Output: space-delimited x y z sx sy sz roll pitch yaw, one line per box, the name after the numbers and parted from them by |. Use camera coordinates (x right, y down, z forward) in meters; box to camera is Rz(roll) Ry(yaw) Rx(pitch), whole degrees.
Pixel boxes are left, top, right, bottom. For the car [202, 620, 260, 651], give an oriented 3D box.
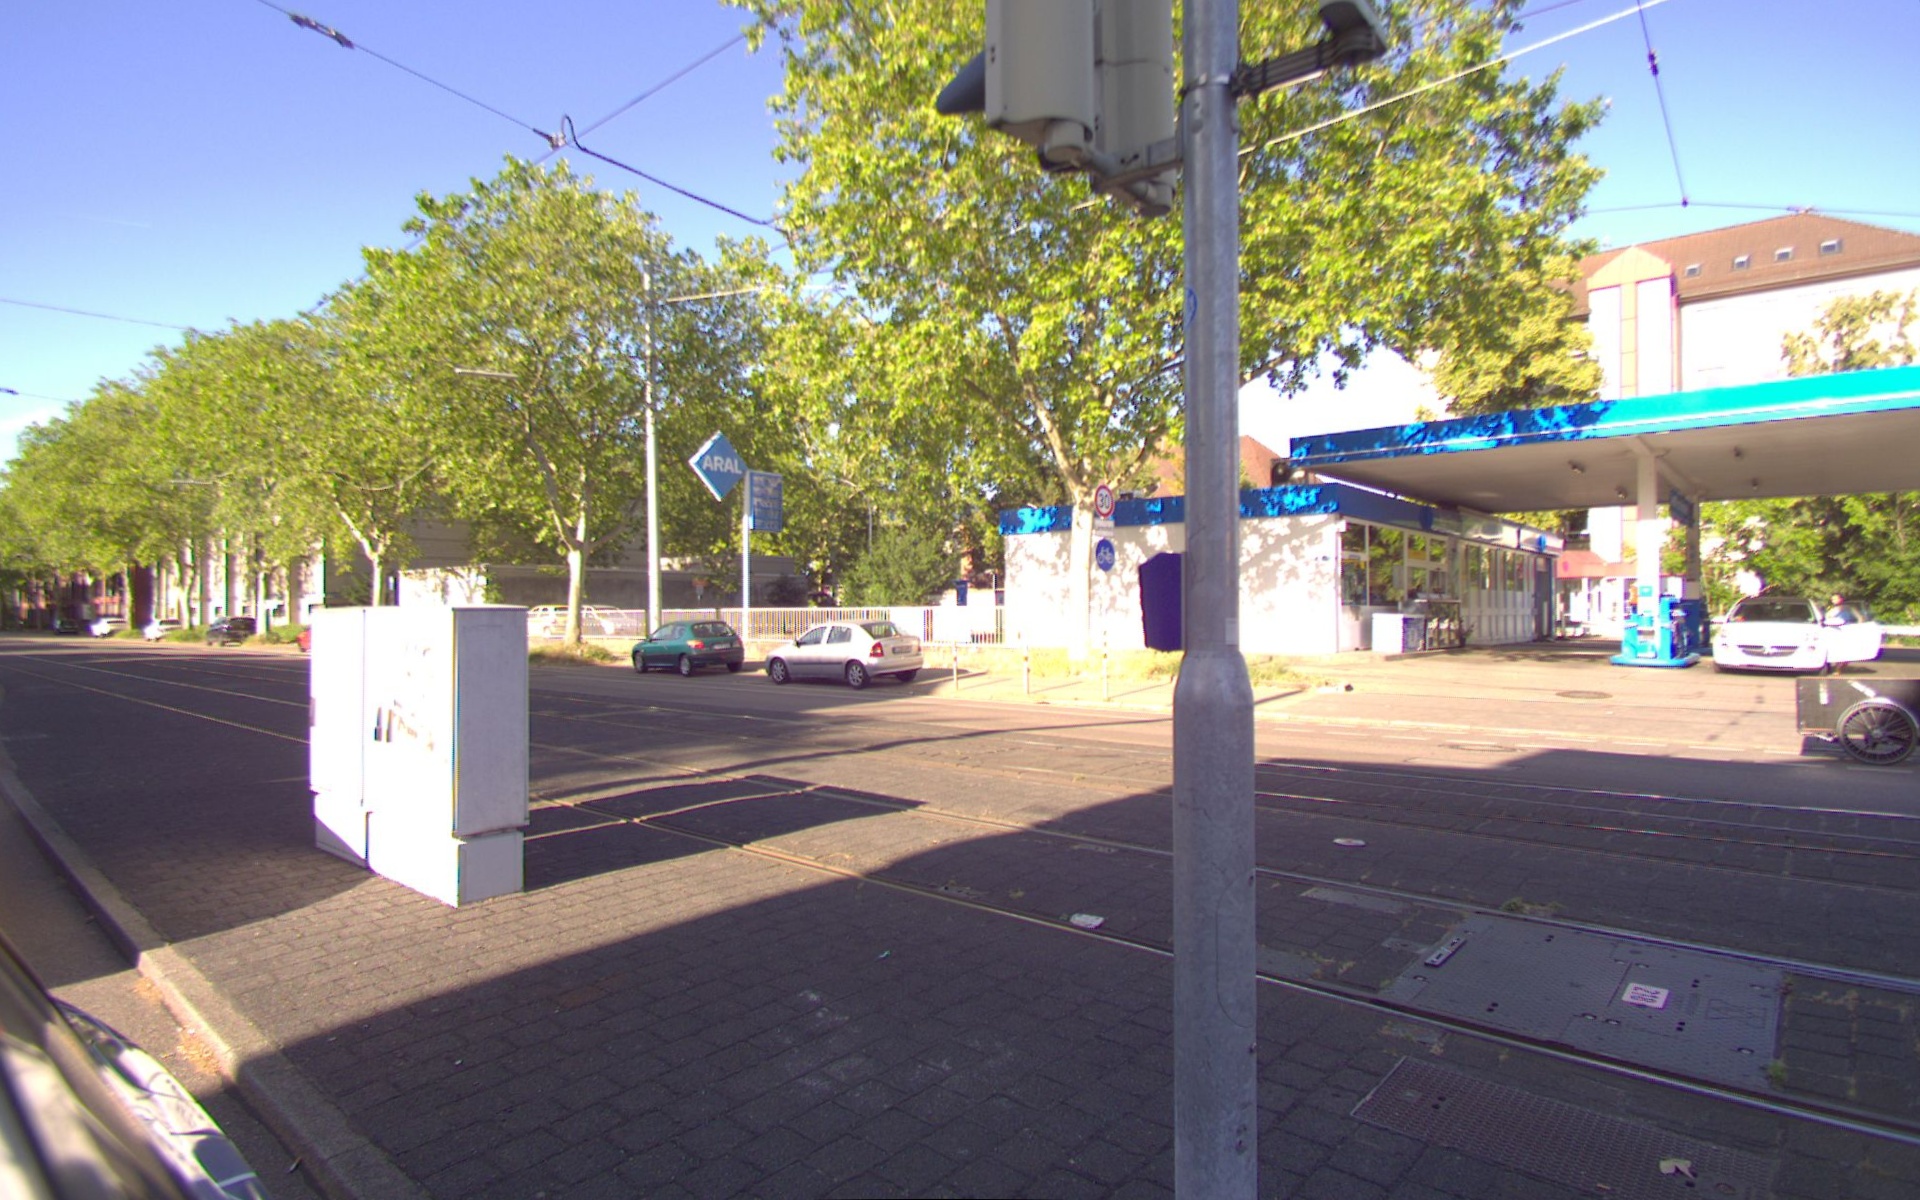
-40.760 1.958 56.580 3.998 1.674 1.779 -1 -1 41 | car

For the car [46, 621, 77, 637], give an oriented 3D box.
-85.332 2.740 96.104 3.998 1.525 1.779 -1 -1 41 | car

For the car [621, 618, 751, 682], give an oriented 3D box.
-7.332 1.279 26.923 3.519 1.475 1.670 -1 2 43 | car

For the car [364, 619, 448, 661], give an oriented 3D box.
-21.946 1.554 40.042 3.652 1.541 1.802 -1 -1 41 | car

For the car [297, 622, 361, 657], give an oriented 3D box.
-28.560 1.755 45.789 3.045 1.519 1.620 -1 -1 41 | car

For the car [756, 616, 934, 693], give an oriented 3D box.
-2.634 1.161 22.654 3.965 1.475 1.771 -1 2 43 | car

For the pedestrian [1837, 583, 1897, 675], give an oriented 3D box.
17.271 0.548 19.282 0.760 1.705 0.579 -1 -2 37 | pedestrian

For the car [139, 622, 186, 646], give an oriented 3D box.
-53.727 2.272 68.152 3.998 1.509 1.779 -1 -1 41 | car

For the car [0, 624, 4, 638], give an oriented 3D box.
-109.419 3.475 114.309 3.998 1.525 1.779 -1 -1 41 | car

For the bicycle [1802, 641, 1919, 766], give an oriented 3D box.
9.409 0.953 9.316 2.518 1.110 1.045 -1 -1 41 | bicycle

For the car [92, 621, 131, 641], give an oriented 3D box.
-66.691 2.409 79.517 3.998 1.525 1.779 -1 -1 41 | car

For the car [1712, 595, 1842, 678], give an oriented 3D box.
16.023 0.677 19.901 1.812 1.453 3.947 -1 -1 39 | car
